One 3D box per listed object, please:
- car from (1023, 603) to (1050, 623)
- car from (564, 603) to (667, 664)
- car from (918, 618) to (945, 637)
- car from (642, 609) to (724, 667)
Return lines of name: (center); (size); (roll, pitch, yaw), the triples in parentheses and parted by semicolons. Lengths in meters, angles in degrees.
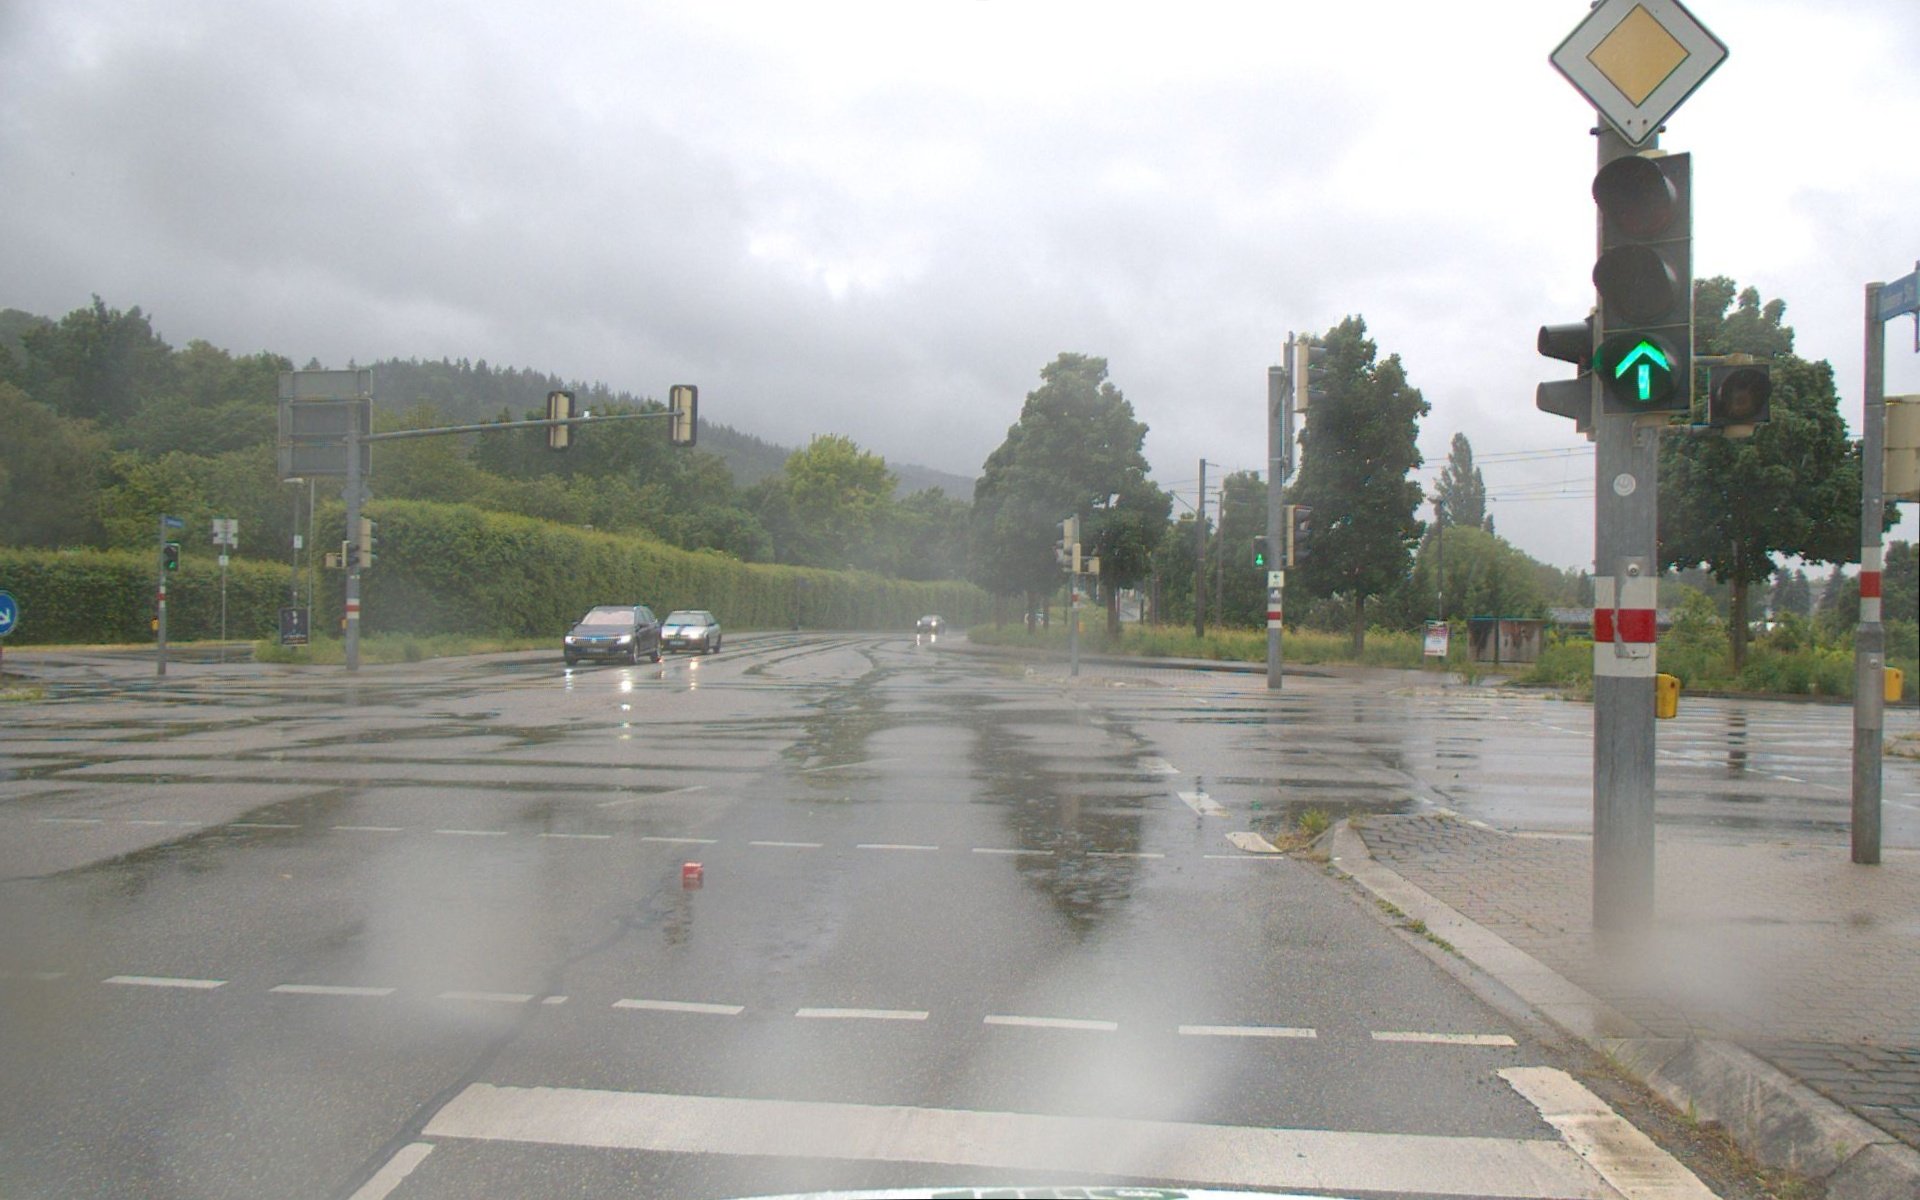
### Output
car: (7.580, 1.269, 163.333); (1.912, 1.937, 4.123); (0, 0, 13)
car: (-8.955, 0.836, 43.332); (1.673, 1.491, 4.453); (0, 0, 1)
car: (-2.364, 2.274, 136.985); (1.747, 1.531, 4.063); (0, -1, 6)
car: (-8.930, 1.199, 53.591); (1.995, 1.738, 4.065); (1, 0, -1)
